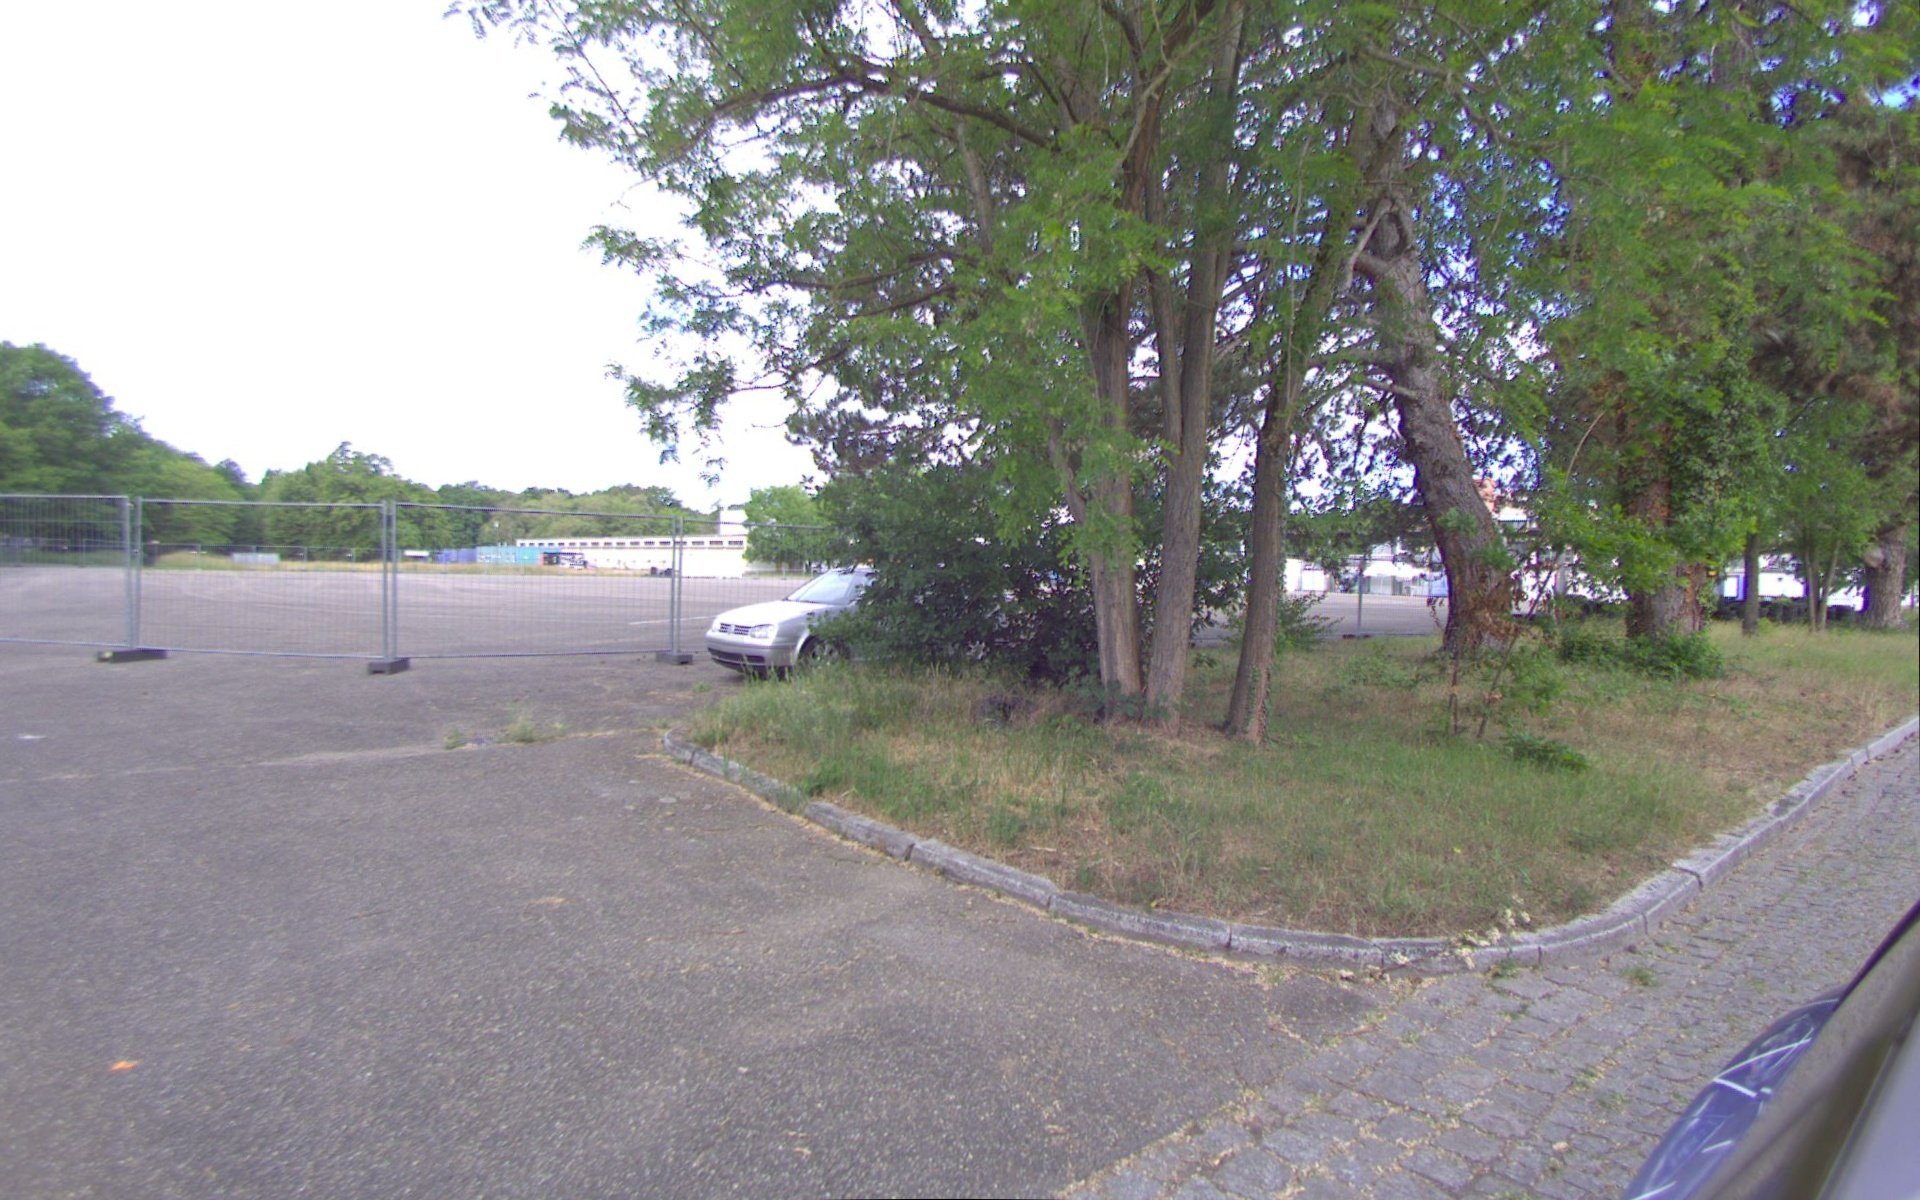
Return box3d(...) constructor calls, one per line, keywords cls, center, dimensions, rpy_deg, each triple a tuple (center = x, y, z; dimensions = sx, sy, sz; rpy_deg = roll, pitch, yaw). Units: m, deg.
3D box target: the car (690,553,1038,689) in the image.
box3d(cls="car", center=(-1.089, 0.181, 13.098), dimensions=(4.415, 1.468, 1.675), rpy_deg=(-1, 2, -44))
